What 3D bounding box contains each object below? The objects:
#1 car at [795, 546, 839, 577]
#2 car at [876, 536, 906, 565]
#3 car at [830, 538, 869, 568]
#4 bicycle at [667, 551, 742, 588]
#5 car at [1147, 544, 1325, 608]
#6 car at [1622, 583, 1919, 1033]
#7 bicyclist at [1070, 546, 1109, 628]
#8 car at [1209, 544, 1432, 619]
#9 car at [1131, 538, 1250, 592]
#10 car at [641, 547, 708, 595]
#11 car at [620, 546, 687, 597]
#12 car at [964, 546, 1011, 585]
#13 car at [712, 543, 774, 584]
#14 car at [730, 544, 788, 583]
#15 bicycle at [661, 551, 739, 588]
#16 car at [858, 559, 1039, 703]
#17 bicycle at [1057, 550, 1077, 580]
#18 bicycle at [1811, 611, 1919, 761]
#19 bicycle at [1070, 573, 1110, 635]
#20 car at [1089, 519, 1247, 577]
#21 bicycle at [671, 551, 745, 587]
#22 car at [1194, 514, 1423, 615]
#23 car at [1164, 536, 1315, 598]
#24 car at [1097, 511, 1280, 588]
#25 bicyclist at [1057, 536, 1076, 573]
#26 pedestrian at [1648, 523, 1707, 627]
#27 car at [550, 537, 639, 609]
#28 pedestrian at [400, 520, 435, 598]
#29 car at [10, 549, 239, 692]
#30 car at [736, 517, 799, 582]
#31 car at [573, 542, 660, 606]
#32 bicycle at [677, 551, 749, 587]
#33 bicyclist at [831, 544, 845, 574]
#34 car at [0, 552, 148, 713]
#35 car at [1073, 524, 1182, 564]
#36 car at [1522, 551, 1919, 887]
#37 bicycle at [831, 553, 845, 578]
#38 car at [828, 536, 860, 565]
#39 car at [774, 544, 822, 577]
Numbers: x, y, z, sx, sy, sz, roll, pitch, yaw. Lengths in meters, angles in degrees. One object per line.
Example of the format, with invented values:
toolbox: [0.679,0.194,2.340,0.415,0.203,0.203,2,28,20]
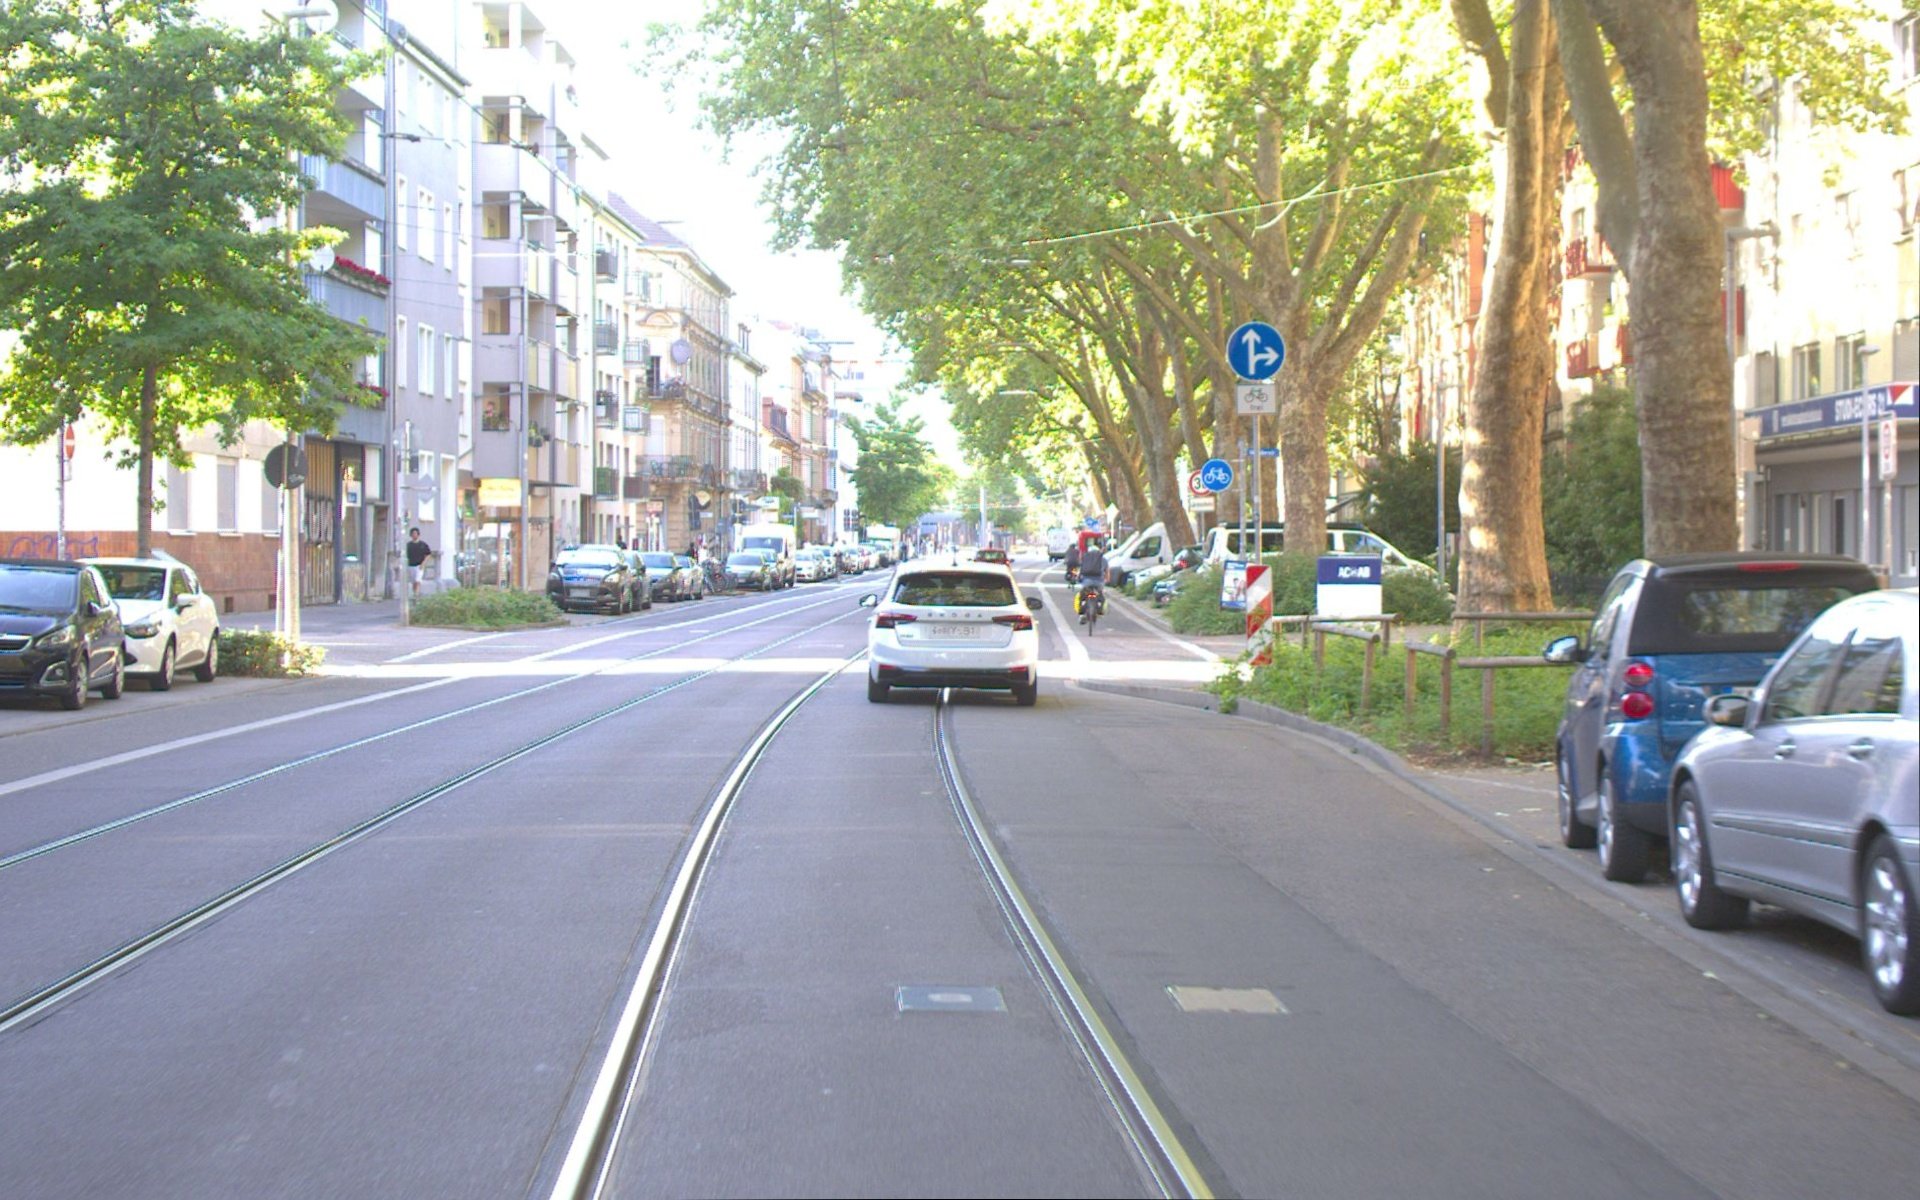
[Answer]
car: [-7.246,-1.972,175.006,1.993,1.525,4.000,0,1,1]
car: [-4.909,-3.518,244.577,1.993,2.007,4.000,0,1,1]
car: [-6.310,-2.684,197.021,1.993,1.634,4.000,1,0,1]
bicycle: [-8.767,-1.041,117.868,2.524,1.168,0.719,2,-1,-5]
car: [6.639,-0.591,82.969,4.142,1.509,1.931,0,1,0]
car: [3.898,0.651,12.688,1.816,1.431,4.603,-1,0,-2]
bicyclist: [2.290,-0.236,60.735,0.678,1.438,1.047,0,1,2]
car: [7.216,-0.379,69.161,4.297,1.474,1.831,0,1,0]
car: [7.131,-1.086,106.488,3.634,1.661,1.822,0,1,4]
car: [-8.691,-0.896,104.865,1.485,1.398,3.990,0,1,3]
car: [-8.882,-0.850,99.942,1.653,1.432,3.837,0,1,-1]
car: [1.098,-1.370,134.352,1.761,1.470,4.000,0,1,1]
car: [-8.117,-1.394,129.001,1.993,1.525,4.000,0,1,1]
car: [-7.862,-1.444,134.777,1.993,1.525,4.000,0,1,1]
bicycle: [-8.845,-1.031,116.987,2.525,1.168,0.883,2,-1,-38]
car: [-0.125,0.282,35.703,1.761,1.379,4.000,0,1,0]
bicycle: [3.879,-1.271,124.732,0.649,1.067,1.583,0,1,-1]
bicycle: [6.914,0.570,23.615,1.966,1.002,0.510,-2,0,27]
bicycle: [2.295,0.064,60.711,0.681,1.067,1.781,0,1,2]
car: [8.286,-2.083,137.331,6.130,2.274,2.529,0,1,0]
bicycle: [-8.776,-1.074,119.743,2.524,1.168,0.719,2,-1,-4]
car: [7.246,-0.742,71.734,4.543,2.069,2.001,0,1,-1]
car: [7.610,-0.919,93.860,3.987,1.674,1.723,0,1,0]
car: [7.847,-1.733,118.719,6.130,2.626,2.529,0,1,0]
bicyclist: [3.872,-1.647,124.740,0.649,1.339,0.934,0,1,-1]
pedestrian: [12.936,-0.460,61.968,0.766,1.860,1.189,0,1,-3]
car: [-8.897,-0.676,84.003,1.702,1.645,4.242,3,1,-1]
pedestrian: [-12.795,-0.976,81.069,0.664,1.820,0.965,0,1,0]
car: [-9.564,0.195,39.659,1.713,1.459,4.377,3,1,-3]
car: [-7.860,-2.070,140.715,2.178,2.588,4.949,0,1,1]
car: [-8.895,-0.690,89.189,1.702,1.539,4.242,3,1,1]
bicycle: [-8.741,-1.097,121.646,2.524,1.168,0.719,2,-1,-5]
bicyclist: [-5.331,-1.795,150.657,0.597,1.282,0.917,0,1,-2]
car: [-9.443,0.285,34.997,1.713,1.459,4.001,3,1,-6]
car: [9.602,-3.209,197.534,6.130,2.274,2.529,0,1,0]
car: [3.775,0.541,17.204,1.564,1.514,2.910,-1,0,3]
bicycle: [-5.332,-1.510,150.596,0.605,1.067,1.583,0,1,-1]
car: [-8.156,-3.500,242.185,1.993,2.007,4.000,0,1,1]
car: [-7.590,-1.860,161.048,1.993,1.525,4.000,0,1,1]
